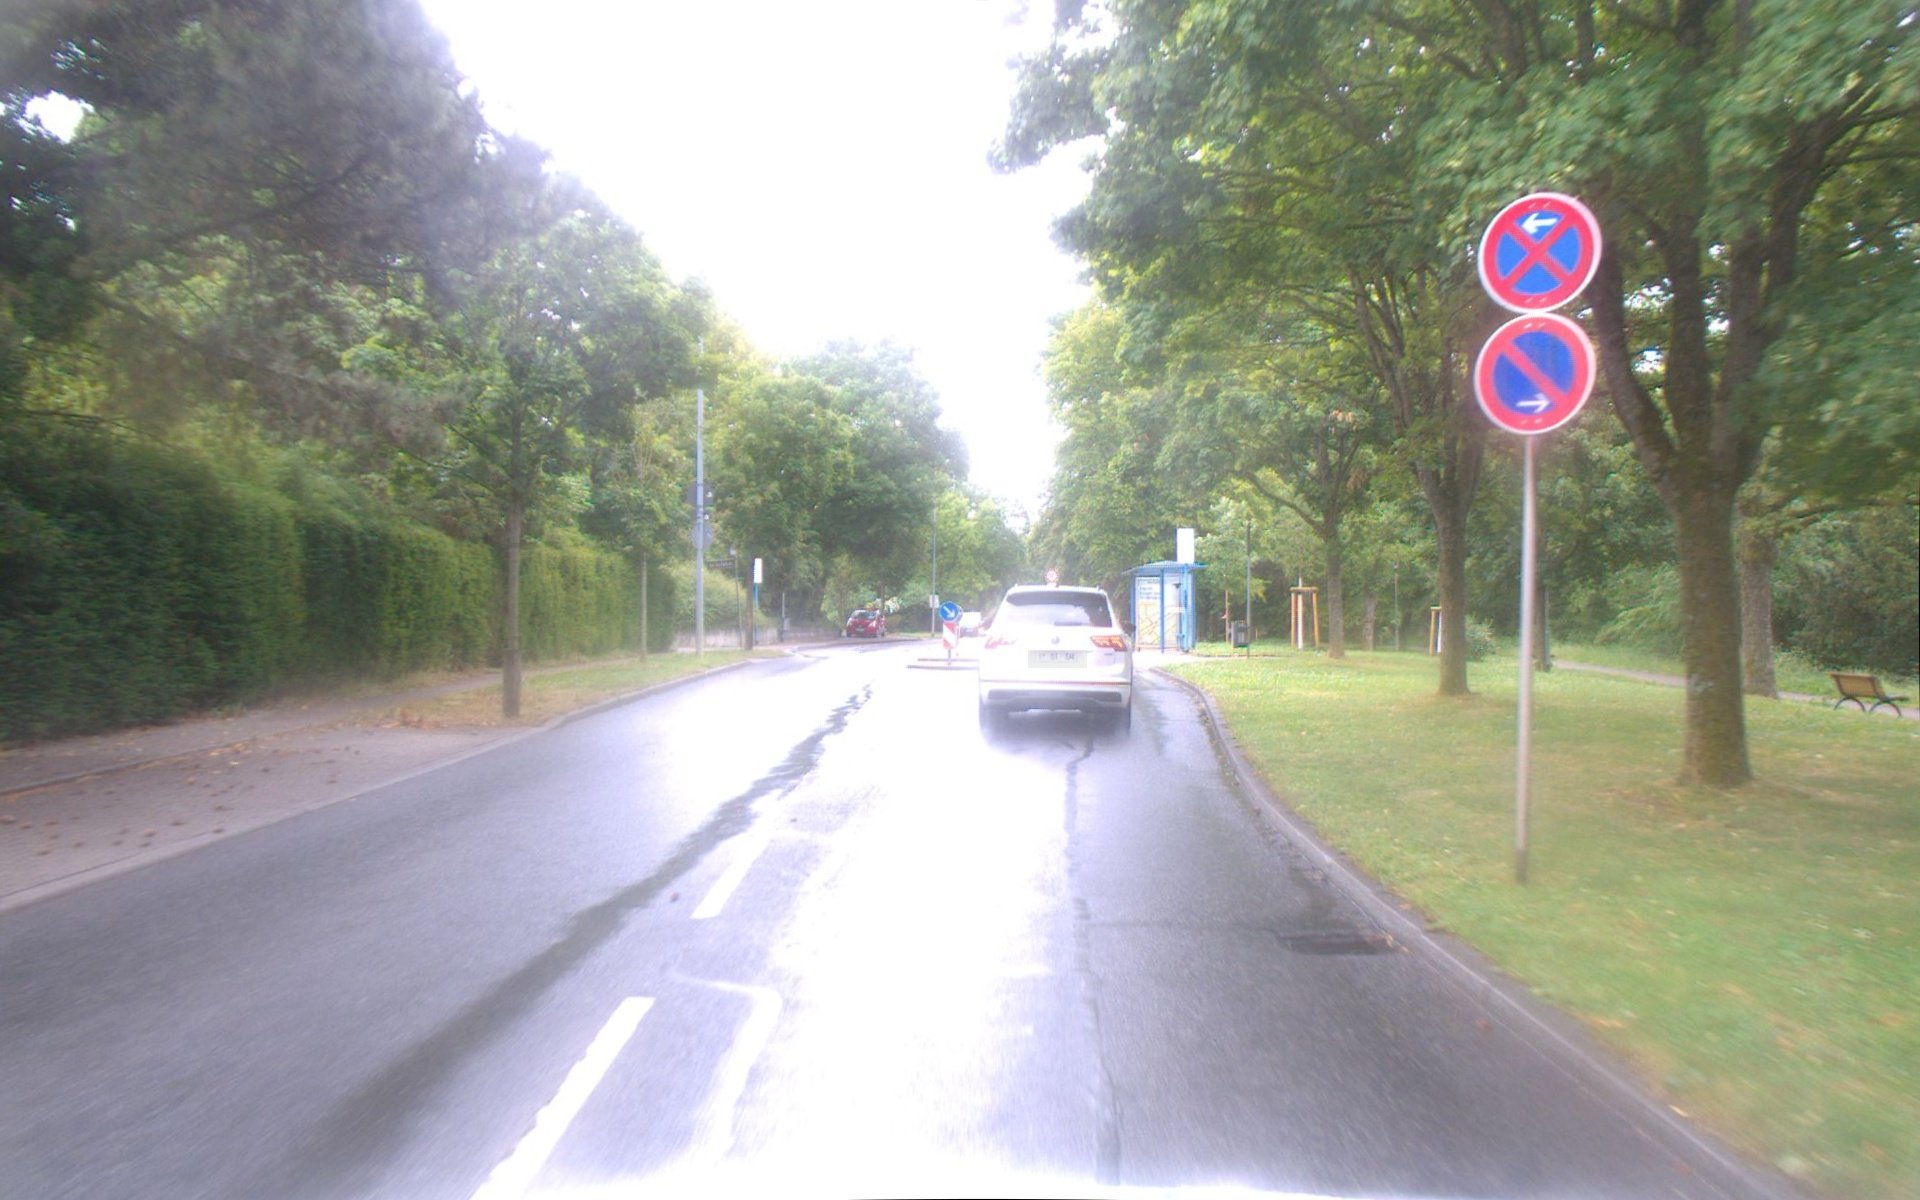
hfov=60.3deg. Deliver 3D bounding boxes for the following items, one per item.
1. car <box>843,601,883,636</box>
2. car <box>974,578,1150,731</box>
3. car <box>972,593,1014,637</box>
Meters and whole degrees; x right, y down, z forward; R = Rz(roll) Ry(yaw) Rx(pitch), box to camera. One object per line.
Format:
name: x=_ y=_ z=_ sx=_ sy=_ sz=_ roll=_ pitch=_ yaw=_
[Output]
car: x=-5.265 y=1.009 z=90.098 sx=1.953 sy=1.793 sz=3.998 roll=2 pitch=-2 yaw=-1
car: x=1.148 y=0.602 z=20.417 sx=1.933 sy=1.682 sz=4.177 roll=0 pitch=0 yaw=0
car: x=1.621 y=0.779 z=82.544 sx=1.863 sy=2.049 sz=3.942 roll=2 pitch=-2 yaw=-2
